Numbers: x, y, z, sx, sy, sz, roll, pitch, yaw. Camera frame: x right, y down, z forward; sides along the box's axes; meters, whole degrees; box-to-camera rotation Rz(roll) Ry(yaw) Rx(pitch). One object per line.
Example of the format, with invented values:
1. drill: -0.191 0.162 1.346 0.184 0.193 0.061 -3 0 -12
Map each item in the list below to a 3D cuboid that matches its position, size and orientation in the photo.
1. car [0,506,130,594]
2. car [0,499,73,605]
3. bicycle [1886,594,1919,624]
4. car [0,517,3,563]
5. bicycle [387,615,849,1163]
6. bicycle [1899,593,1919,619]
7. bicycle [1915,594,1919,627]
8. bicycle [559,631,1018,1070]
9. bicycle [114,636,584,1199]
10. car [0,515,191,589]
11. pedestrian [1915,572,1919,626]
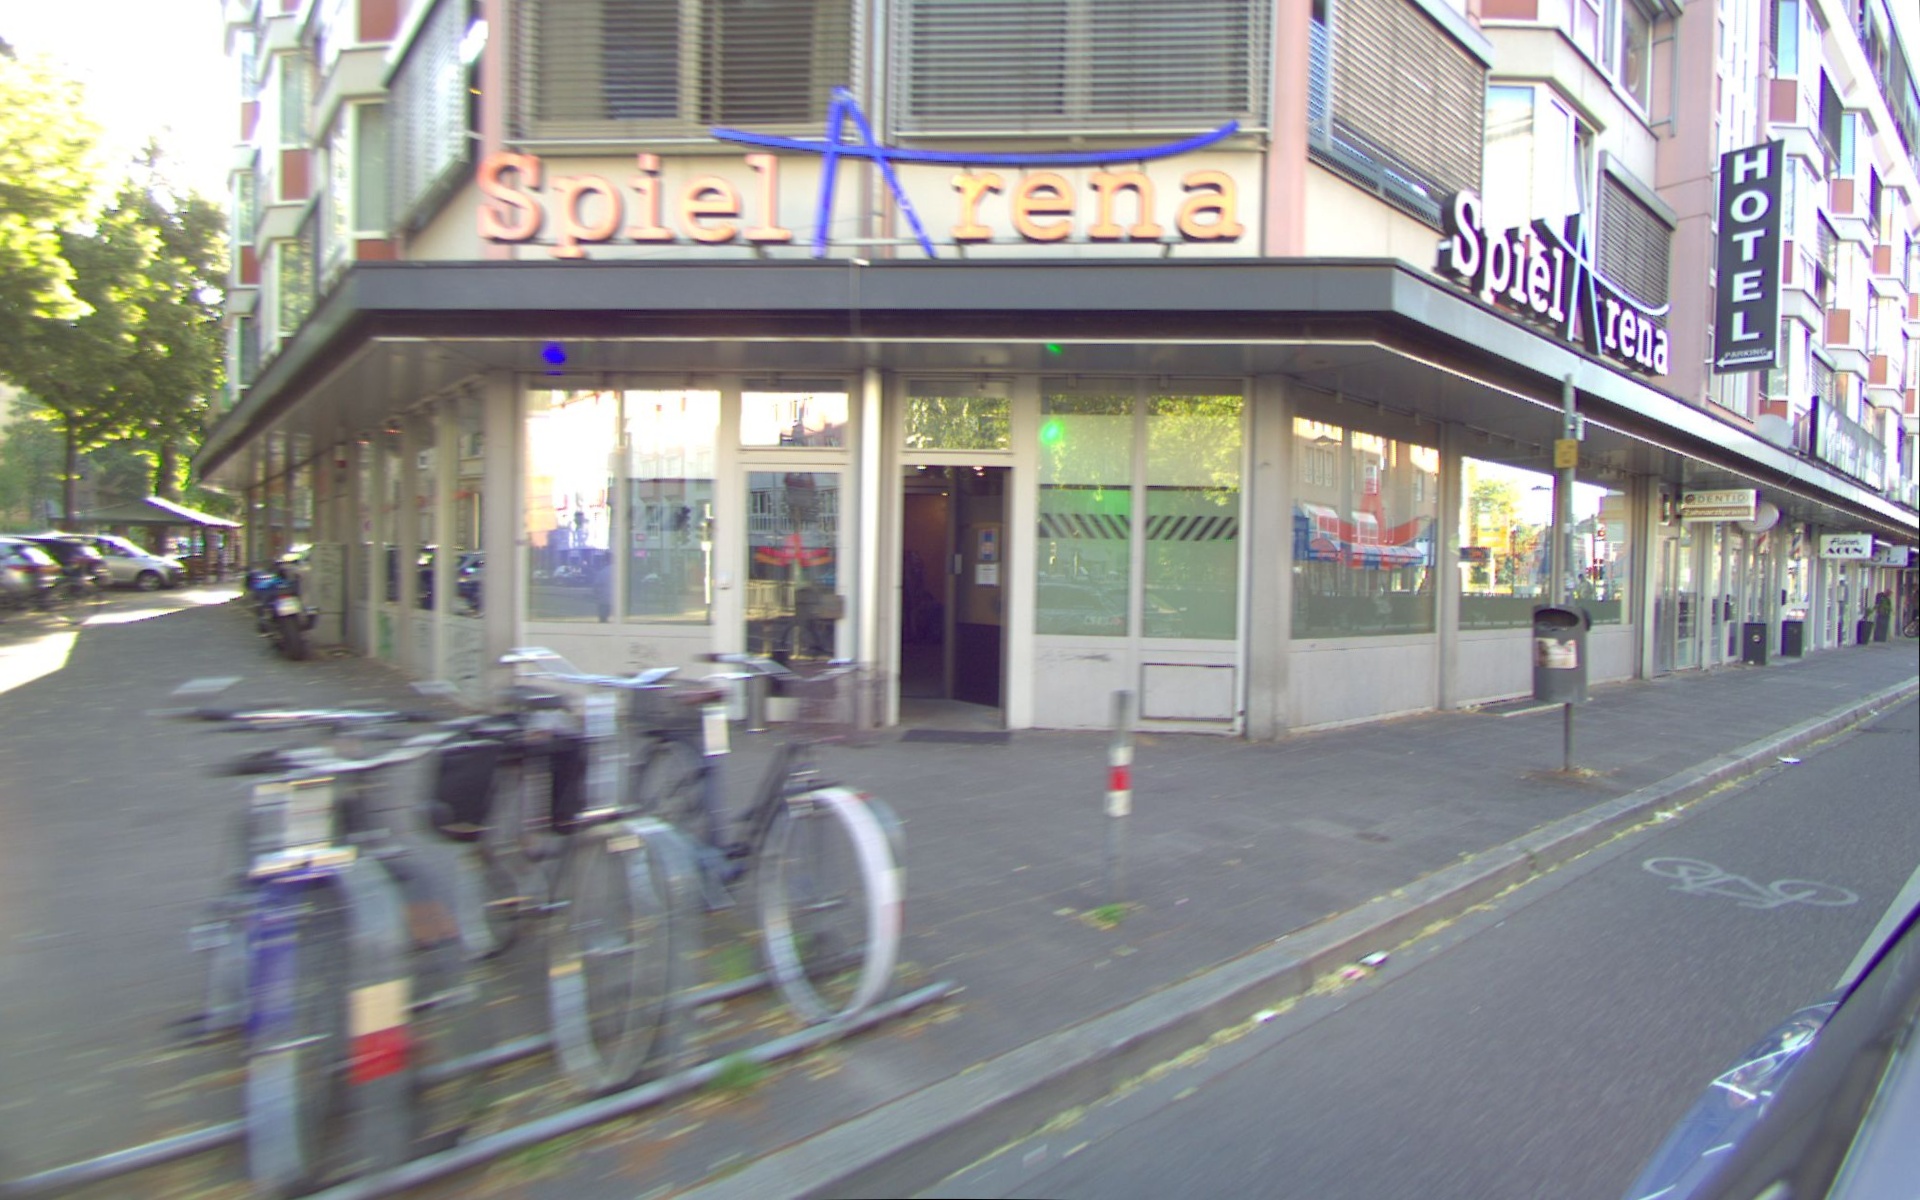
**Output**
1. car: -22.203 -1.108 23.200 4.545 1.964 1.977 -1 0 -24
2. car: -19.850 -0.868 18.896 4.545 1.964 1.977 -1 0 -23
3. bicycle: 36.319 0.358 38.213 0.566 1.073 1.928 0 3 -41
4. car: -35.917 -2.224 35.776 1.787 1.688 4.223 -1 1 -25
5. bicycle: -1.191 0.656 3.171 0.604 1.118 1.972 0 2 -43
6. bicycle: 37.436 0.267 38.962 0.496 0.985 1.737 0 4 -36
7. bicycle: 32.517 0.379 33.818 1.763 1.079 0.659 -1 6 -42
8. bicycle: -0.718 0.693 3.612 0.670 1.060 1.915 0 1 -43
9. bicycle: -1.724 0.684 2.691 0.706 1.067 1.836 0 1 -43
10. car: -24.511 -1.296 28.308 4.549 1.964 1.975 -1 0 -30
11. pedestrian: 34.289 -0.010 35.582 0.766 1.889 0.915 -1 4 -44
